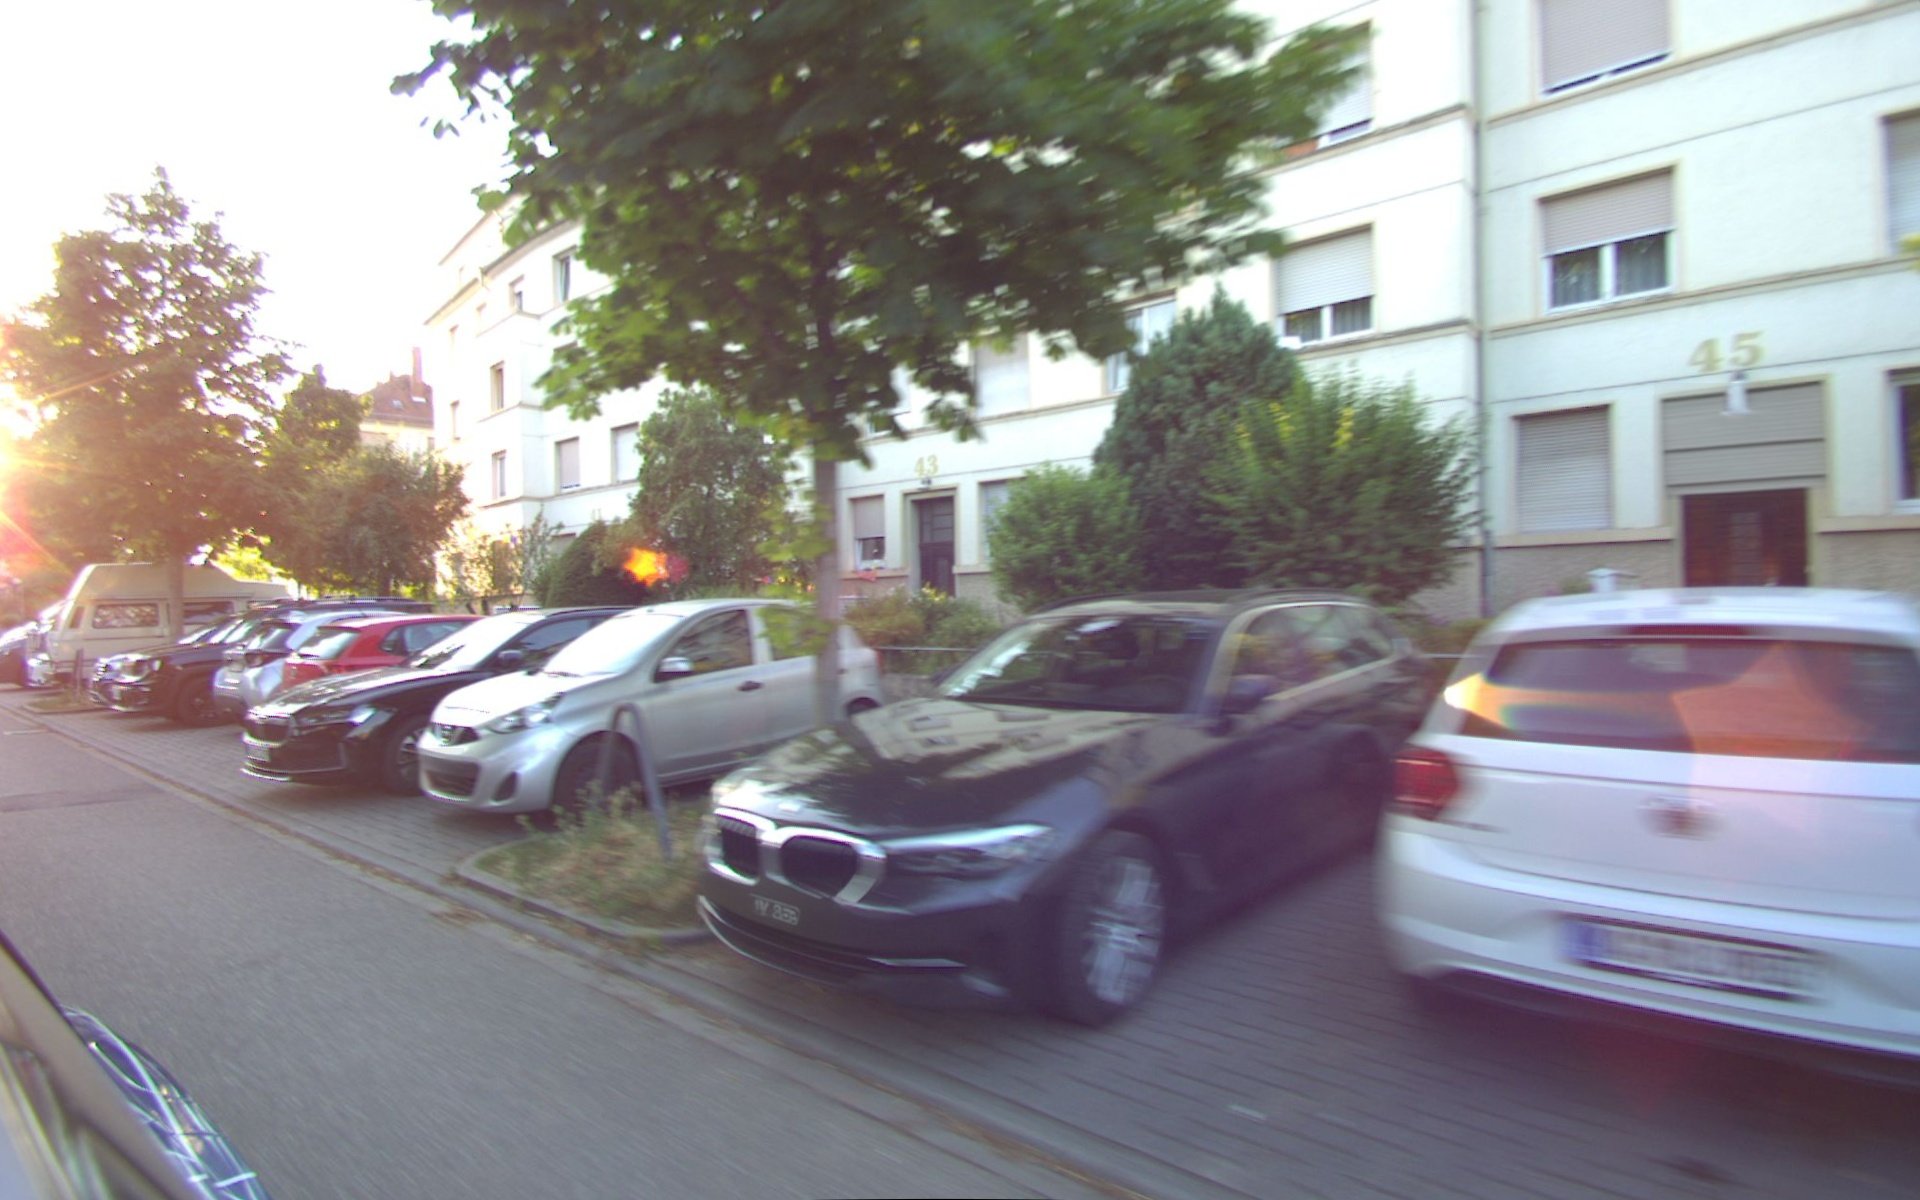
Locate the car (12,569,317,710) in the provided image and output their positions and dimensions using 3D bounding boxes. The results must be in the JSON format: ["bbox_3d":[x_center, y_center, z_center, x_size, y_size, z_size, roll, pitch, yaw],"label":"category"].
[{"bbox_3d":[-15.457,0.669,19.831,2.001,2.449,4.452,-2,-1,44],"label":"car"}]

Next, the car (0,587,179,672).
[{"bbox_3d":[-28.905,0.934,33.478,4.676,2.589,2.002,-1,-1,-44],"label":"car"}]

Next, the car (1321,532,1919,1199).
[{"bbox_3d":[2.919,0.583,3.830,1.758,1.495,3.378,-2,-1,42],"label":"car"}]

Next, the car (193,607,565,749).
[{"bbox_3d":[-7.627,0.917,13.600,1.787,1.536,3.949,-2,-1,37],"label":"car"}]

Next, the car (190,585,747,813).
[{"bbox_3d":[-4.327,0.710,9.581,1.896,1.627,4.367,-2,-1,36],"label":"car"}]

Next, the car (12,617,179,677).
[{"bbox_3d":[-26.404,1.395,30.980,3.760,1.534,1.654,-4,1,-44],"label":"car"}]

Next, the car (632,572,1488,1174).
[{"bbox_3d":[1.012,0.663,5.014,1.879,1.481,4.724,-1,1,40],"label":"car"}]

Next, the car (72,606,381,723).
[{"bbox_3d":[-11.893,0.966,16.570,1.786,1.607,3.818,-2,-1,43],"label":"car"}]

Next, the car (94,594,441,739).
[{"bbox_3d":[-9.982,0.857,14.811,1.841,1.790,3.822,-2,-1,39],"label":"car"}]

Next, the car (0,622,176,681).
[{"bbox_3d":[-24.881,1.414,28.585,4.193,1.404,1.686,-2,0,-42],"label":"car"}]

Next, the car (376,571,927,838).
[{"bbox_3d":[-2.205,0.625,8.170,1.798,1.590,3.951,-2,-1,36],"label":"car"}]

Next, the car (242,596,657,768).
[{"bbox_3d":[-5.710,0.799,11.759,1.728,1.595,3.951,-2,-1,36],"label":"car"}]

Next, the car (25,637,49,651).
[{"bbox_3d":[-100.709,4.802,110.449,1.707,1.386,3.769,-1,-1,-40],"label":"car"}]

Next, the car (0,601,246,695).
[{"bbox_3d":[-19.281,1.022,23.012,2.000,1.888,4.624,-2,-1,42],"label":"car"}]

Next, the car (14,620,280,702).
[{"bbox_3d":[-17.090,1.213,21.405,2.000,1.436,4.130,-2,-1,42],"label":"car"}]

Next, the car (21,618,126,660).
[{"bbox_3d":[-52.917,2.324,60.541,4.454,2.085,2.004,-5,0,-37],"label":"car"}]
